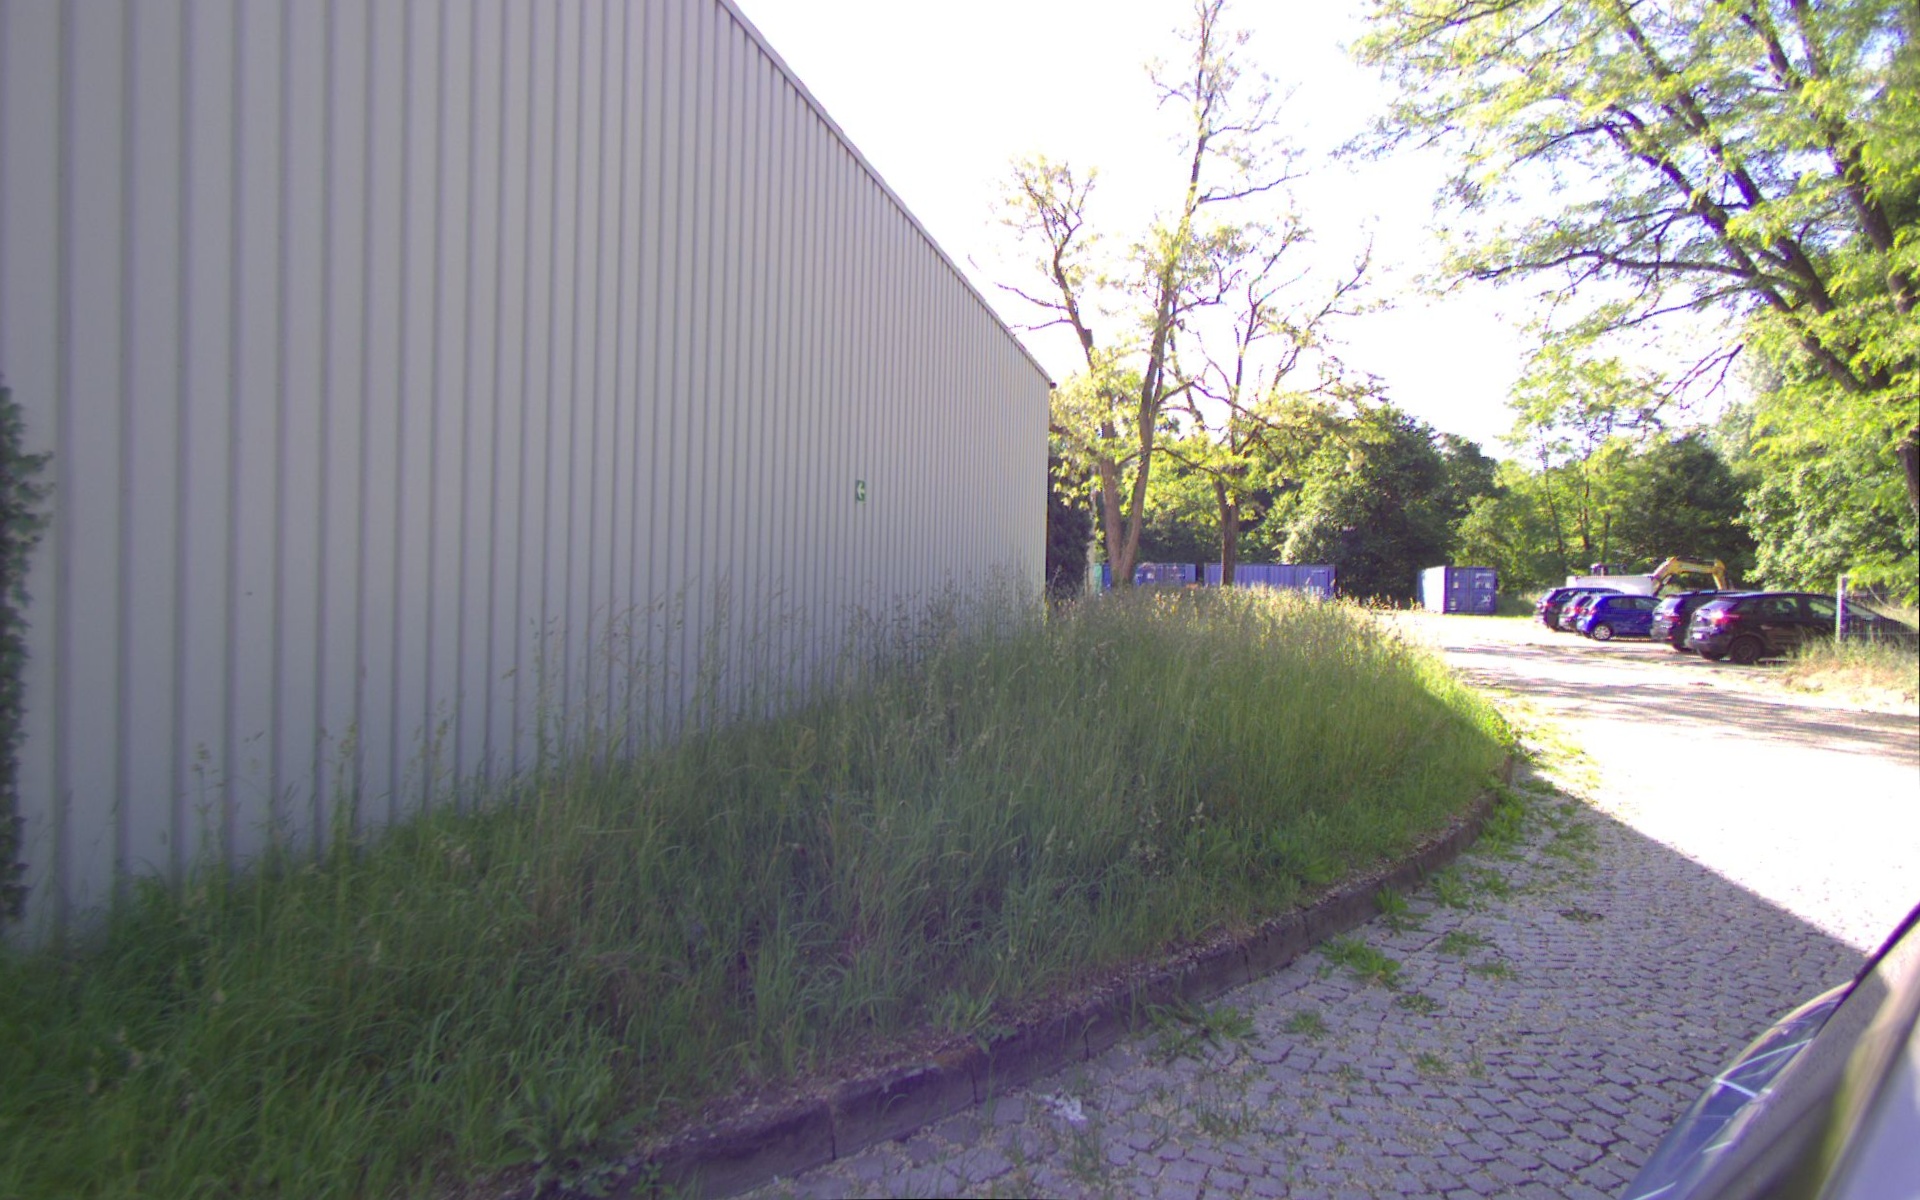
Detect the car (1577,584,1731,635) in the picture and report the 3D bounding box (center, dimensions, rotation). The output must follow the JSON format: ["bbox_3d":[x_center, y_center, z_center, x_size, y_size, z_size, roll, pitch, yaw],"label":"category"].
[{"bbox_3d":[21.539,0.294,31.574,3.621,1.512,1.702,-1,0,23],"label":"car"}]

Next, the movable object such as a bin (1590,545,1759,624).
[{"bbox_3d":[28.234,-0.663,40.226,5.110,3.003,1.983,1,1,25],"label":"movable object such as a bin"}]

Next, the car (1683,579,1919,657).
[{"bbox_3d":[19.459,0.408,23.238,4.238,1.673,1.785,-1,0,16],"label":"car"}]

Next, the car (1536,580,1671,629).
[{"bbox_3d":[23.023,0.138,36.380,3.776,1.662,1.854,1,1,23],"label":"car"}]

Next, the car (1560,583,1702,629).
[{"bbox_3d":[22.444,0.199,34.009,3.618,1.469,1.822,0,1,21],"label":"car"}]

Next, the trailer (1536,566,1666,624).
[{"bbox_3d":[24.538,-0.195,38.899,3.924,2.120,1.628,0,0,21],"label":"trailer"}]

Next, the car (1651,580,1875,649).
[{"bbox_3d":[20.646,0.342,26.234,4.137,1.677,1.806,0,0,20],"label":"car"}]

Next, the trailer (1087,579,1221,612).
[{"bbox_3d":[9.989,-0.293,52.012,6.412,1.536,2.838,1,2,20],"label":"trailer"}]
